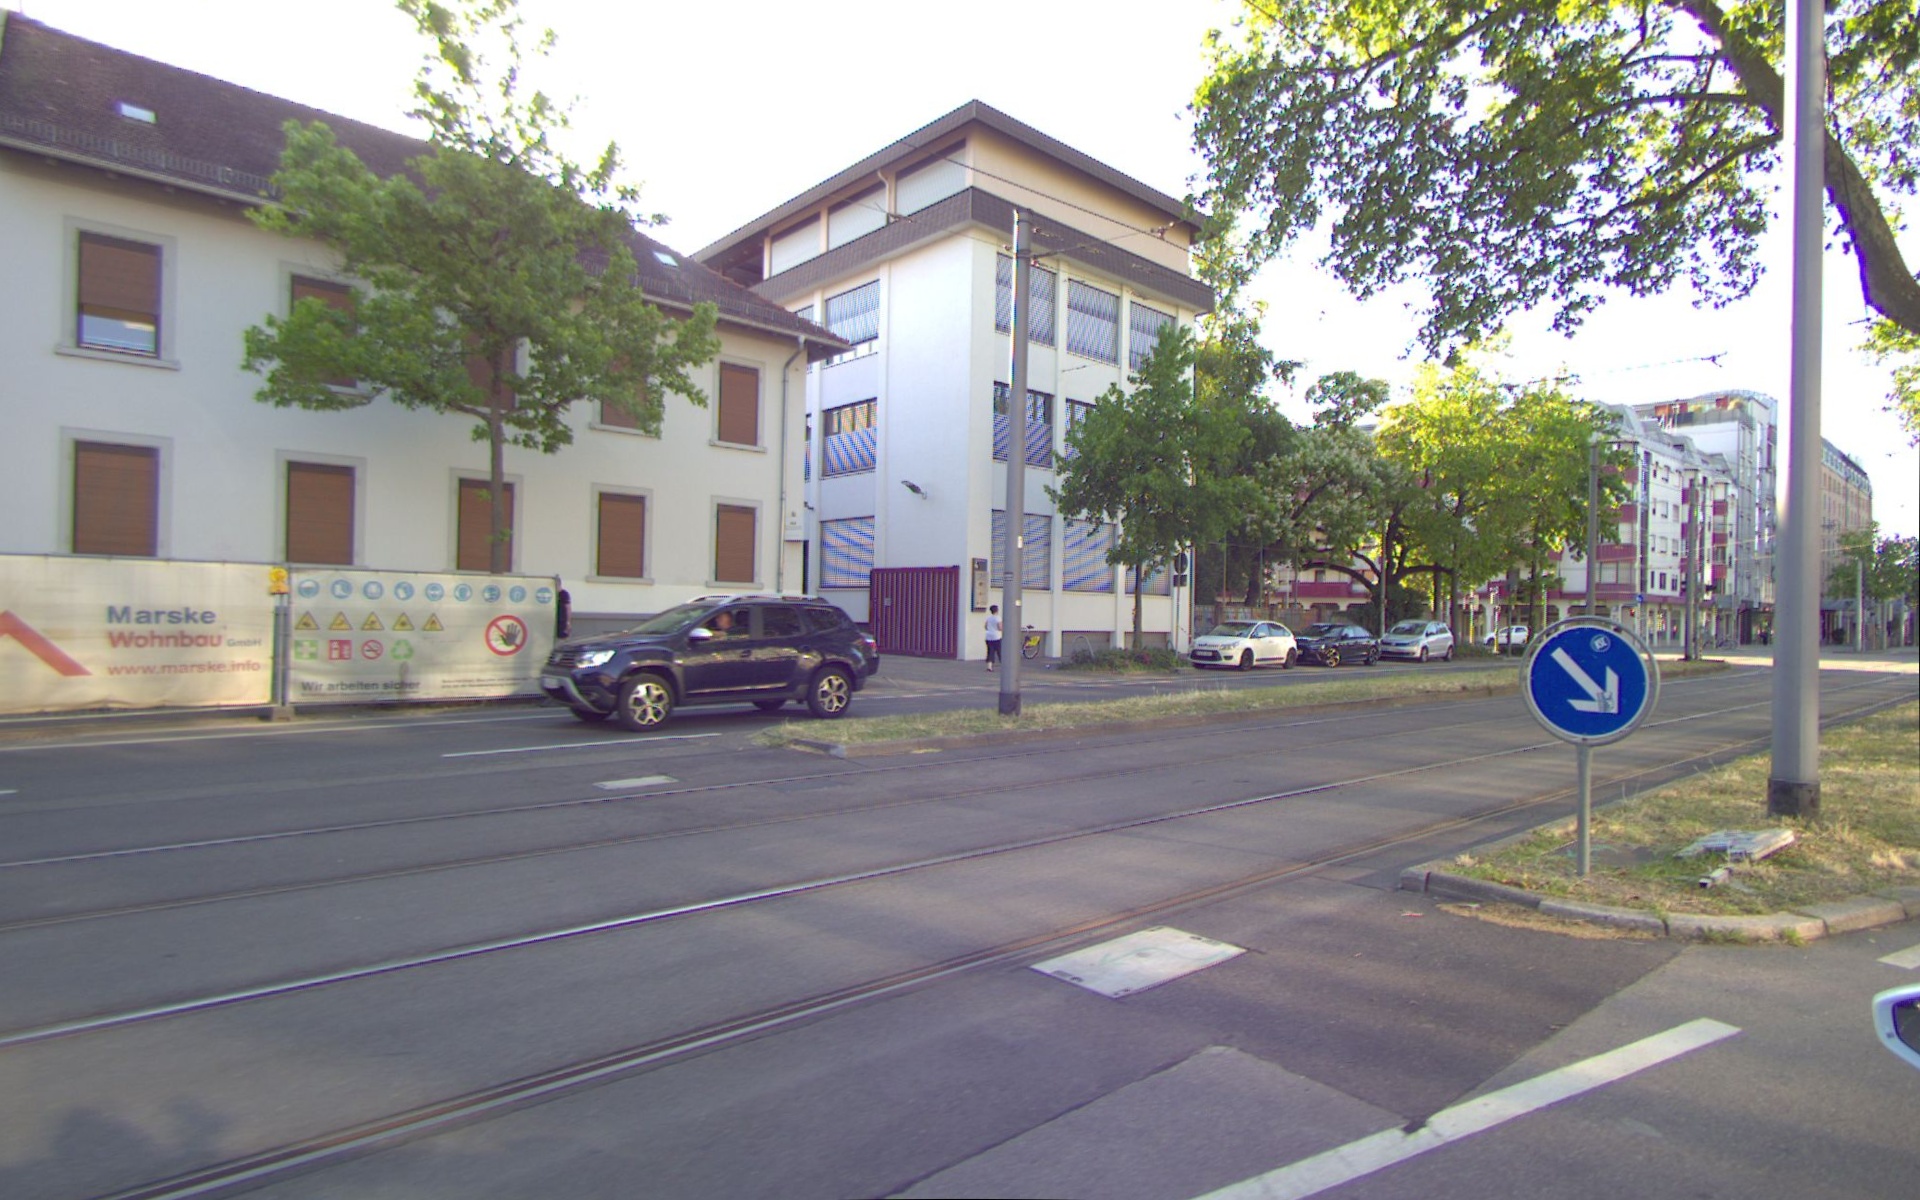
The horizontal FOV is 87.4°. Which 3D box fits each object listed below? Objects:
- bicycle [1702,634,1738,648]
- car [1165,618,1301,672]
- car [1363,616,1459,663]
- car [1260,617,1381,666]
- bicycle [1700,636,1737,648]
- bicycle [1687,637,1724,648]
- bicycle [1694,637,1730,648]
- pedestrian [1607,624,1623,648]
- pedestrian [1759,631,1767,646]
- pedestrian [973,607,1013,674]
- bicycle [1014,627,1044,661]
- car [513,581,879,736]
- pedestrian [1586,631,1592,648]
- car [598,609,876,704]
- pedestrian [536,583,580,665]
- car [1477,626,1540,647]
[{"bbox_3d":[57.861,3.123,76.489,0.488,0.963,2.148,1,-1,-43],"label":"bicycle"},{"bbox_3d":[8.275,1.307,30.234,4.375,1.490,1.975,2,-1,-43],"label":"car"},{"bbox_3d":[17.490,1.511,38.900,4.149,1.711,1.975,2,-1,-43],"label":"car"},{"bbox_3d":[12.236,1.365,33.930,4.617,1.495,1.975,2,-1,-43],"label":"car"},{"bbox_3d":[57.409,3.203,76.031,0.524,0.835,2.148,1,-1,-43],"label":"bicycle"},{"bbox_3d":[55.583,3.159,74.941,0.636,0.797,2.148,2,-1,-43],"label":"bicycle"},{"bbox_3d":[56.311,3.182,75.247,0.488,0.797,2.148,1,-1,-43],"label":"bicycle"},{"bbox_3d":[45.500,2.494,69.788,0.701,1.684,1.027,-1,-2,45],"label":"pedestrian"},{"bbox_3d":[78.995,3.793,98.839,0.524,1.478,0.505,1,-1,-42],"label":"pedestrian"},{"bbox_3d":[0.827,1.008,25.151,0.726,1.642,0.630,2,0,-40],"label":"pedestrian"},{"bbox_3d":[2.086,1.317,30.237,1.011,1.016,0.300,1,-1,-43],"label":"bicycle"},{"bbox_3d":[-3.357,0.696,13.291,4.280,1.711,1.975,2,-1,-43],"label":"car"},{"bbox_3d":[45.296,2.857,72.298,0.300,1.230,0.316,-1,-1,44],"label":"pedestrian"},{"bbox_3d":[-4.024,0.980,18.625,4.690,1.534,1.975,2,-1,-42],"label":"car"},{"bbox_3d":[-7.993,0.480,19.978,0.635,1.591,0.588,1,-1,-43],"label":"pedestrian"},{"bbox_3d":[40.845,2.698,74.847,3.938,1.483,1.794,-1,-2,38],"label":"car"}]
